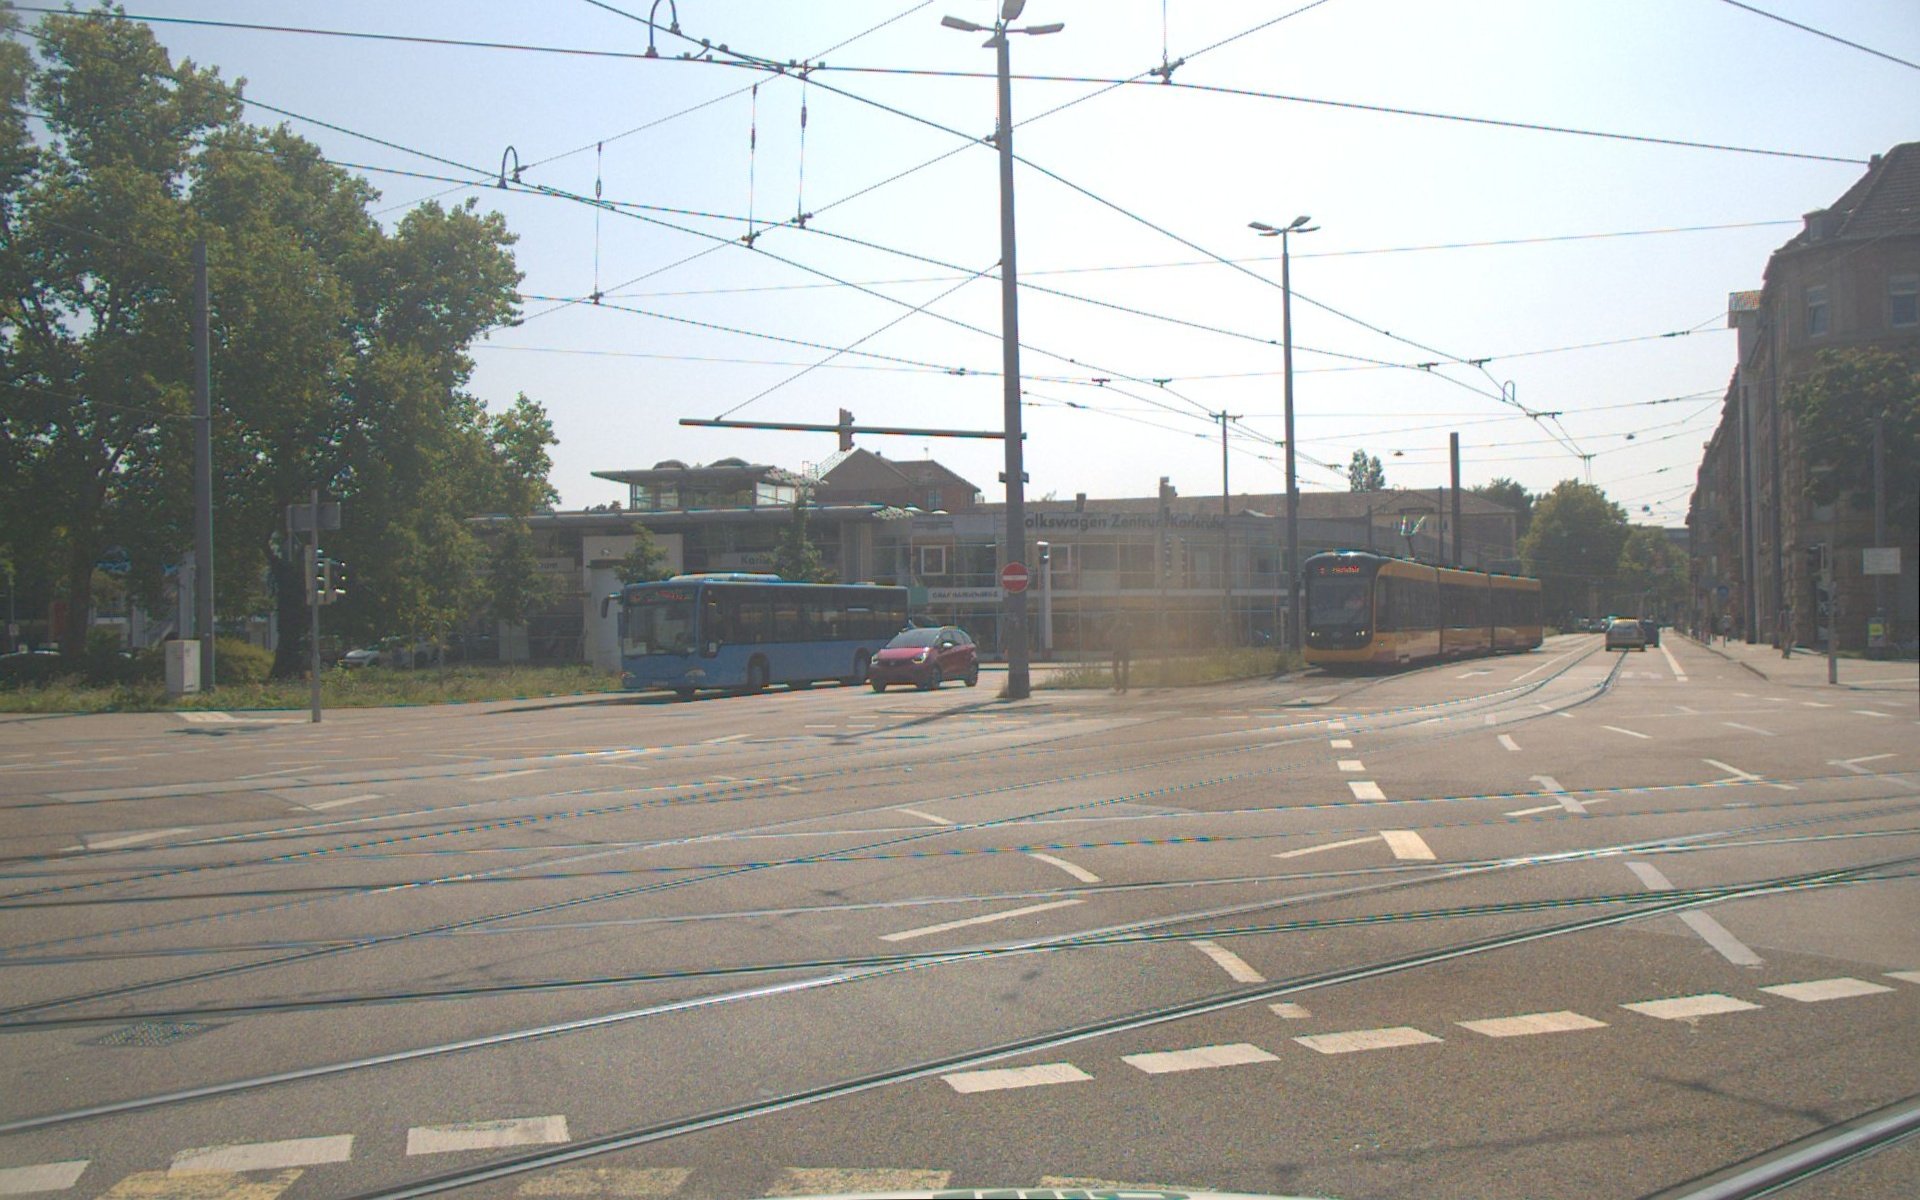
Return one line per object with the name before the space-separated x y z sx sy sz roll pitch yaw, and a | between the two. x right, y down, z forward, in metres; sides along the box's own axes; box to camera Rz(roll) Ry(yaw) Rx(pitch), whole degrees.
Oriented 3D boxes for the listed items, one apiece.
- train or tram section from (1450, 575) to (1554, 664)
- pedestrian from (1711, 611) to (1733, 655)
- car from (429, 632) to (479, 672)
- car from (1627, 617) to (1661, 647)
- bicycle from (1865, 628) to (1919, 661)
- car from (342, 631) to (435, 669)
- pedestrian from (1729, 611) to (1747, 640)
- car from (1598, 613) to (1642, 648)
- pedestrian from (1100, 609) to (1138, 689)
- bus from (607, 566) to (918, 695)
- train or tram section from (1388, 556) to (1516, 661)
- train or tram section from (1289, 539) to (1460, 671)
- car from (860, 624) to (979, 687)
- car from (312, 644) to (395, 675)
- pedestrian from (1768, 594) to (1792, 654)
train or tram section | 24.202 0.965 73.372 2.537 3.623 12.201 0 -2 27
pedestrian | 36.363 1.573 78.947 0.821 2.049 0.810 0 -2 15
car | -27.486 2.791 90.052 2.287 2.049 6.781 1 -1 -15
car | 36.381 1.681 88.046 1.478 1.538 3.624 -1 -1 20
bicycle | 28.742 1.352 50.642 1.745 0.974 0.462 -1 -1 18
car | -29.100 2.531 84.307 1.685 1.784 4.236 -2 -1 41
pedestrian | 46.294 1.538 98.461 0.821 1.700 0.810 0 -1 15
car | 30.858 1.448 77.379 1.696 1.602 3.613 0 -2 19
pedestrian | 3.494 1.078 36.405 0.785 1.717 0.719 -1 -1 6
bus | -5.047 0.817 46.070 2.671 3.118 12.074 -1 -1 25
train or tram section | 18.941 0.457 62.991 2.537 3.623 12.201 0 -2 27
train or tram section | 13.187 0.302 51.606 2.537 3.623 12.201 0 -2 27
car | -0.974 1.378 42.077 1.592 1.498 3.770 -1 -1 23
car | -31.917 3.135 87.187 1.952 1.534 4.000 -1 -1 21
pedestrian | 28.387 0.825 57.256 0.635 2.049 0.703 -1 -1 20
